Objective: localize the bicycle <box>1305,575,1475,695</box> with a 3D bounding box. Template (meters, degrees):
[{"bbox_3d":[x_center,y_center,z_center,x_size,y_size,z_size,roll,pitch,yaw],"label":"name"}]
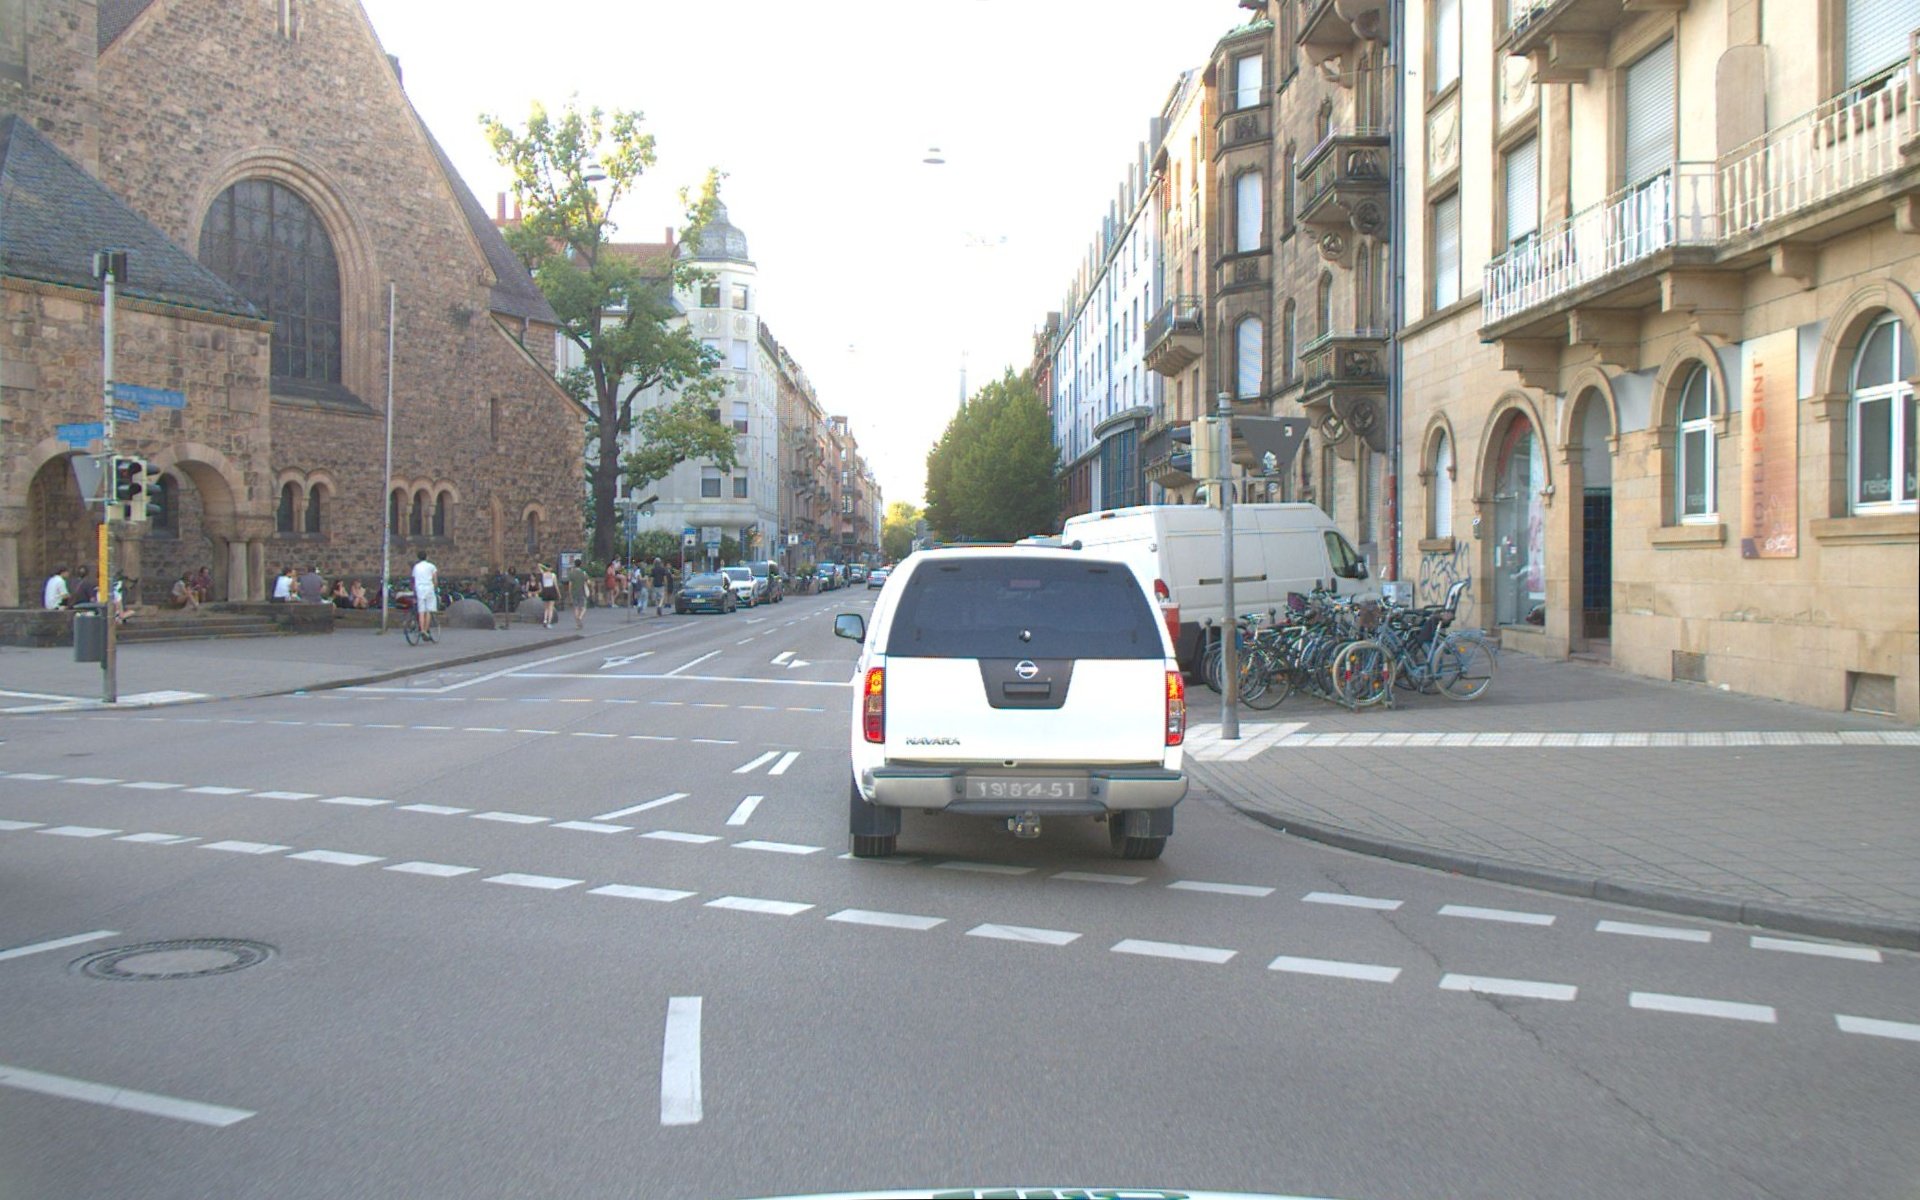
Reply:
[{"bbox_3d":[4.962,0.397,19.141,1.781,1.259,0.488,-4,1,-2],"label":"bicycle"}]

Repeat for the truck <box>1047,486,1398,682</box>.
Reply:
[{"bbox_3d":[4.049,-0.258,24.757,5.628,2.609,2.252,-1,1,-43],"label":"truck"}]

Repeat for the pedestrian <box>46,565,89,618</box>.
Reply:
[{"bbox_3d":[-16.762,-0.166,31.069,0.511,0.977,0.479,1,1,20],"label":"pedestrian"}]

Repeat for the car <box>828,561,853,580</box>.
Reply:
[{"bbox_3d":[-10.122,-2.483,140.538,1.821,1.555,4.000,1,1,0],"label":"car"}]

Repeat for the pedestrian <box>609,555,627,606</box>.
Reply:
[{"bbox_3d":[-12.800,-0.728,61.904,0.632,1.887,0.560,0,0,-14],"label":"pedestrian"}]

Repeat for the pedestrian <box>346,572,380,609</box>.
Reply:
[{"bbox_3d":[-16.190,-0.256,44.878,0.540,0.977,0.710,1,1,21],"label":"pedestrian"}]

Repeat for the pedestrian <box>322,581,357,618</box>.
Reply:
[{"bbox_3d":[-16.564,-0.022,44.172,0.540,0.977,0.710,1,1,21],"label":"pedestrian"}]

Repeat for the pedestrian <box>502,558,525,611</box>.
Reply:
[{"bbox_3d":[-14.480,-0.505,53.609,0.631,1.725,0.561,0,0,-8],"label":"pedestrian"}]

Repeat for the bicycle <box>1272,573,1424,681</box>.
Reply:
[{"bbox_3d":[4.963,0.339,21.182,1.781,1.259,0.410,-4,1,-2],"label":"bicycle"}]

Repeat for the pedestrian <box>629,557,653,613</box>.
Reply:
[{"bbox_3d":[-10.740,-0.498,55.726,0.635,1.887,0.556,0,1,-29],"label":"pedestrian"}]

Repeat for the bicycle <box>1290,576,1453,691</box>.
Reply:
[{"bbox_3d":[4.928,0.392,19.852,1.781,1.259,0.477,-4,1,-2],"label":"bicycle"}]

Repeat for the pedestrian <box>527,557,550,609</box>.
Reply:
[{"bbox_3d":[-14.254,-0.577,55.909,0.629,1.725,0.562,1,0,-1],"label":"pedestrian"}]

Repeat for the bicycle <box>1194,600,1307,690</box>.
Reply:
[{"bbox_3d":[3.649,0.564,20.816,1.306,1.042,0.317,-4,1,-2],"label":"bicycle"}]

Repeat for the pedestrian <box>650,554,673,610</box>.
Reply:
[{"bbox_3d":[-10.115,-0.615,56.029,0.635,1.887,0.556,0,1,-29],"label":"pedestrian"}]

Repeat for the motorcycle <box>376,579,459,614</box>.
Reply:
[{"bbox_3d":[-16.069,-0.106,49.023,2.200,1.005,0.707,1,1,-6],"label":"motorcycle"}]

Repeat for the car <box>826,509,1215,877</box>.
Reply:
[{"bbox_3d":[0.317,0.445,10.401,1.952,1.840,4.000,1,1,0],"label":"car"}]

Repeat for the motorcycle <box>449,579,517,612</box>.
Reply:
[{"bbox_3d":[-15.036,-0.139,52.105,2.120,1.005,0.594,1,1,20],"label":"motorcycle"}]

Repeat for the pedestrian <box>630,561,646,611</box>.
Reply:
[{"bbox_3d":[-12.161,-0.520,62.457,0.549,1.887,0.644,0,0,-7],"label":"pedestrian"}]

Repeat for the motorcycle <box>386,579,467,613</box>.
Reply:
[{"bbox_3d":[-16.052,-0.117,49.822,2.200,1.005,0.707,1,1,-6],"label":"motorcycle"}]

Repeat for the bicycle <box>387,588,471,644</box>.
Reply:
[{"bbox_3d":[-10.919,0.317,34.078,0.642,1.096,2.247,1,1,11],"label":"bicycle"}]

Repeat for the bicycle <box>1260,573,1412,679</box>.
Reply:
[{"bbox_3d":[4.923,0.333,21.714,1.818,1.259,0.530,-4,1,-2],"label":"bicycle"}]

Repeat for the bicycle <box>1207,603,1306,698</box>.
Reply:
[{"bbox_3d":[3.502,0.595,19.559,1.055,1.042,0.317,-3,1,-2],"label":"bicycle"}]

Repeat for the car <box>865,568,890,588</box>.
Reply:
[{"bbox_3d":[-6.575,-1.729,132.596,1.821,1.555,4.000,1,1,-1],"label":"car"}]

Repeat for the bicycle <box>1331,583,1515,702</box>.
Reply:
[{"bbox_3d":[5.079,0.457,18.200,1.781,1.169,0.636,-4,1,-2],"label":"bicycle"}]

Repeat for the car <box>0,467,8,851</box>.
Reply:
[{"bbox_3d":[-6.069,0.362,6.385,1.953,2.049,4.950,-1,1,-1],"label":"car"}]

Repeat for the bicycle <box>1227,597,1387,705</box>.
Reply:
[{"bbox_3d":[3.913,0.567,18.673,1.692,1.102,0.317,-4,1,-2],"label":"bicycle"}]

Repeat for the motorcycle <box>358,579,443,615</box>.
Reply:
[{"bbox_3d":[-16.156,-0.089,47.795,2.200,1.005,0.707,1,1,-6],"label":"motorcycle"}]

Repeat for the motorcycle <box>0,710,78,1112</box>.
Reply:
[{"bbox_3d":[-2.898,0.871,3.928,0.587,1.062,1.945,1,1,-1],"label":"motorcycle"}]

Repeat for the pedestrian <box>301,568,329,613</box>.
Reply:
[{"bbox_3d":[-14.203,-0.215,36.418,0.513,0.977,0.477,0,1,-16],"label":"pedestrian"}]

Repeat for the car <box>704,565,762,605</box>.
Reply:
[{"bbox_3d":[-9.273,-0.625,67.835,1.821,1.555,4.000,1,1,0],"label":"car"}]

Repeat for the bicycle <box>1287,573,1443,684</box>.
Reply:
[{"bbox_3d":[5.030,0.348,20.577,1.781,1.259,0.412,-4,1,-2],"label":"bicycle"}]

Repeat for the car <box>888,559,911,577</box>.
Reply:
[{"bbox_3d":[-5.236,-2.744,142.882,1.882,1.555,3.998,1,1,-3],"label":"car"}]

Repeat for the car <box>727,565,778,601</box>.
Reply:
[{"bbox_3d":[-9.315,-0.791,74.416,1.821,1.555,4.000,1,1,0],"label":"car"}]

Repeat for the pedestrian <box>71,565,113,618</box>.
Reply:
[{"bbox_3d":[-16.154,-0.156,30.790,0.511,0.977,0.479,1,1,20],"label":"pedestrian"}]

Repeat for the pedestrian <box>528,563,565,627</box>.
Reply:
[{"bbox_3d":[-11.186,-0.144,44.752,0.796,1.698,0.859,1,1,-2],"label":"pedestrian"}]

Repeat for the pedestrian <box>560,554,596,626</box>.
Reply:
[{"bbox_3d":[-10.350,-0.273,44.833,0.796,1.934,0.666,1,0,-2],"label":"pedestrian"}]

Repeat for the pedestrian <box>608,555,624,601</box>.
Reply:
[{"bbox_3d":[-13.041,-0.828,62.744,0.549,1.725,0.644,0,0,-7],"label":"pedestrian"}]

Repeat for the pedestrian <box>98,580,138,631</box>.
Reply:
[{"bbox_3d":[-16.273,0.107,31.965,0.469,0.977,0.522,1,1,30],"label":"pedestrian"}]

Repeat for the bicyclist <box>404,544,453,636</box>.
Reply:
[{"bbox_3d":[-10.936,-0.202,34.046,0.642,1.859,0.860,1,1,8],"label":"bicyclist"}]

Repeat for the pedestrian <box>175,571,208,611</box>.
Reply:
[{"bbox_3d":[-19.054,-0.231,41.032,0.541,0.977,0.709,1,1,-6],"label":"pedestrian"}]

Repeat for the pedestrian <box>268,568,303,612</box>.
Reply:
[{"bbox_3d":[-14.881,-0.223,36.493,0.510,0.977,0.479,1,1,18],"label":"pedestrian"}]

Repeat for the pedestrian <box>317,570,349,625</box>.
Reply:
[{"bbox_3d":[-14.526,-0.060,38.321,0.468,1.267,0.523,1,1,18],"label":"pedestrian"}]

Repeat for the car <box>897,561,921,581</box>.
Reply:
[{"bbox_3d":[-4.101,-2.306,132.571,1.821,1.555,4.000,1,1,0],"label":"car"}]

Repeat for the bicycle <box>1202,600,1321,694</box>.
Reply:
[{"bbox_3d":[3.695,0.571,20.269,1.344,1.042,0.317,-4,1,-2],"label":"bicycle"}]

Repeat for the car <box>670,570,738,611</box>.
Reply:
[{"bbox_3d":[-9.193,-0.355,59.641,1.821,1.422,4.000,1,1,0],"label":"car"}]
